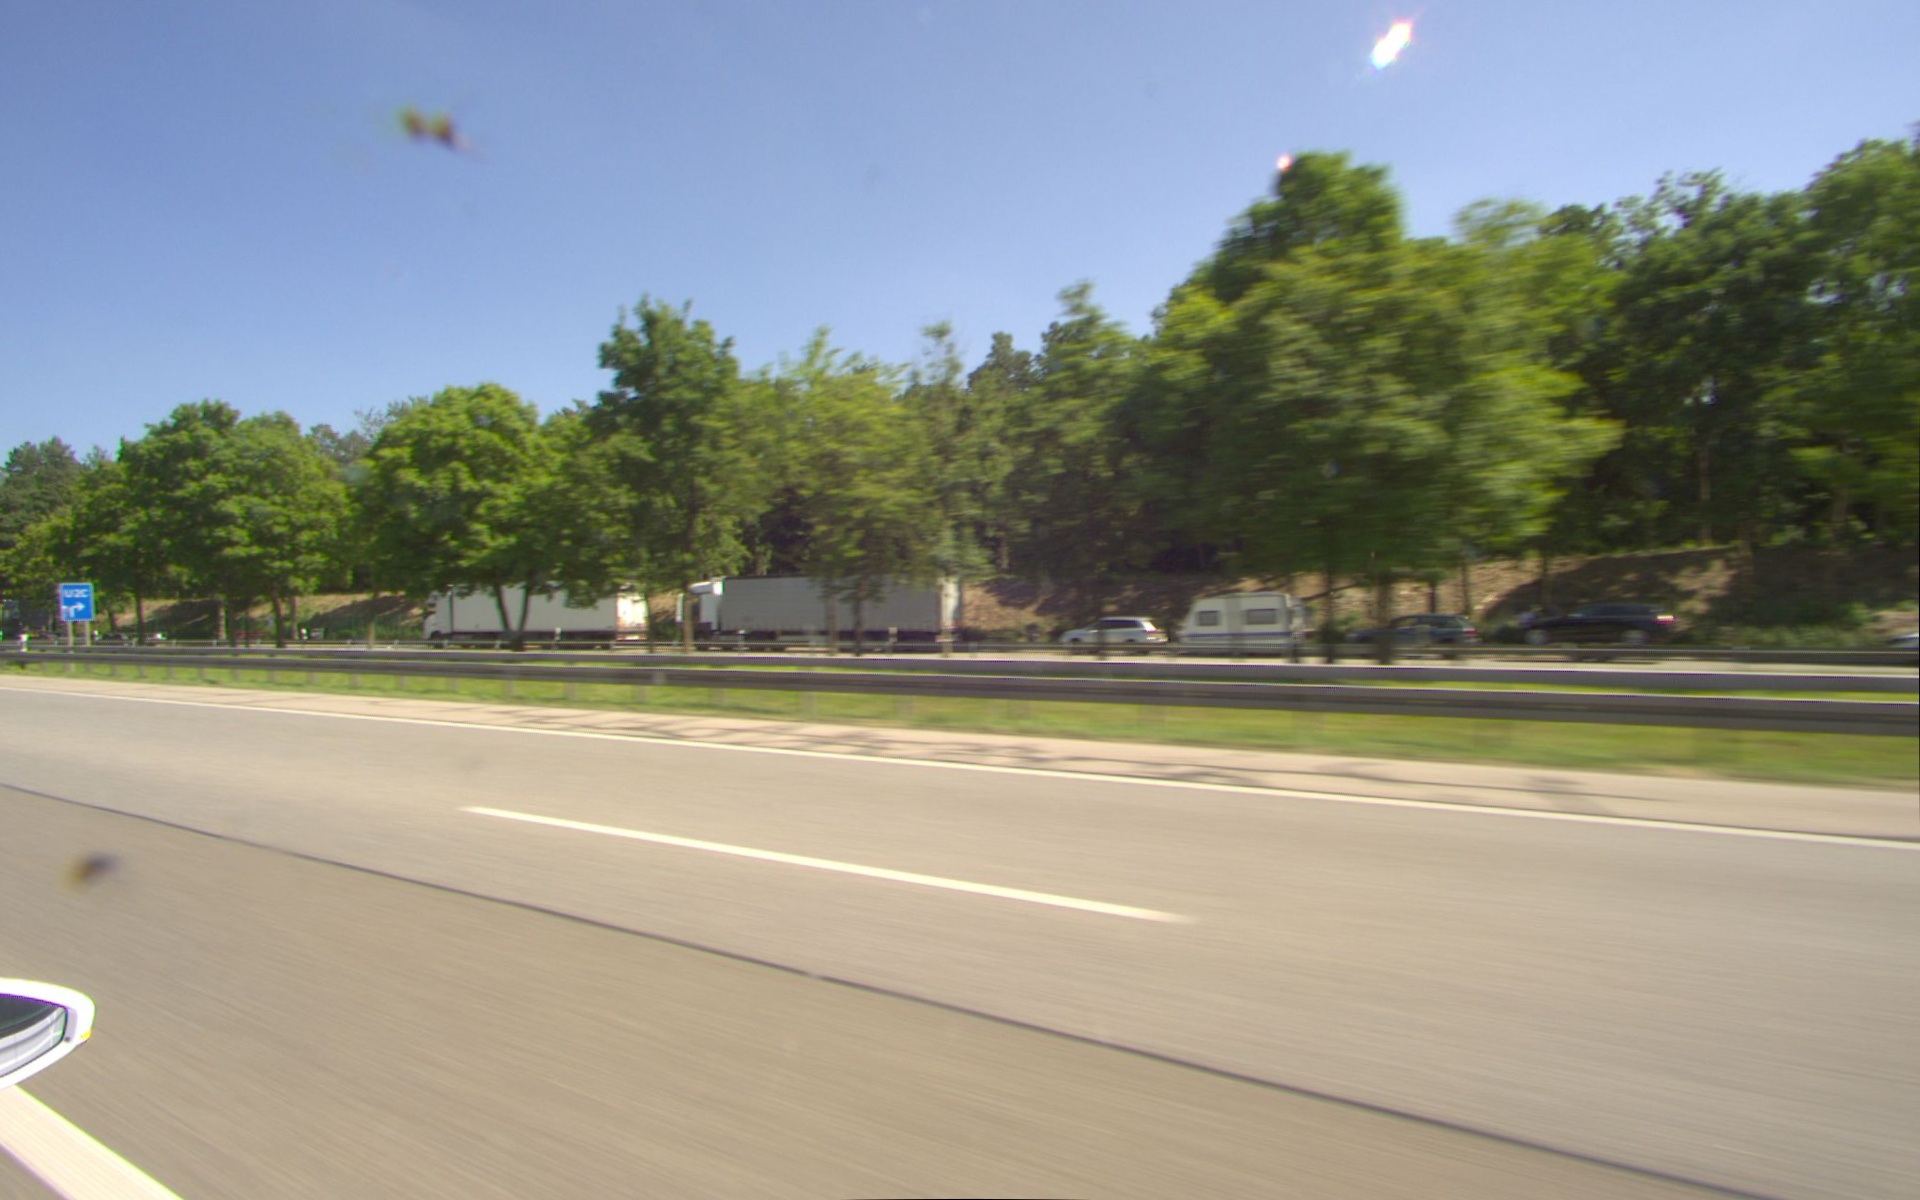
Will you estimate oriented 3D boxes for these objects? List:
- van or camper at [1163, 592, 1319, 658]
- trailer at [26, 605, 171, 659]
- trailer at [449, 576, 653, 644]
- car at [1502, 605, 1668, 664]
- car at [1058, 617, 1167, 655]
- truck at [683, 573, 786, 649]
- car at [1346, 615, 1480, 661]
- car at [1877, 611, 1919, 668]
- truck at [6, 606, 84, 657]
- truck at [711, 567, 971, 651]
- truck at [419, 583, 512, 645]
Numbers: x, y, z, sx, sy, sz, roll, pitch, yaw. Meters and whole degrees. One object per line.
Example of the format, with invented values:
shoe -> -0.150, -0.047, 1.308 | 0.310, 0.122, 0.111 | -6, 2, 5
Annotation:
van or camper -> 11.491, 1.036, 41.173 | 5.792, 2.563, 2.199 | -1, -1, 33
trailer -> -66.441, 2.479, 77.136 | 12.524, 3.965, 2.576 | -1, -1, 19
trailer -> -25.062, 0.728, 60.892 | 13.959, 3.846, 2.858 | -1, -1, 25
car -> 21.467, 1.188, 34.475 | 4.739, 1.901, 1.650 | -1, -1, 37
car -> 6.694, 1.581, 44.174 | 4.490, 1.618, 1.653 | -1, -1, 32
truck -> -12.371, 0.645, 55.055 | 4.758, 3.982, 2.969 | -1, -1, 28
car -> 17.067, 1.413, 37.805 | 4.433, 1.663, 1.652 | -1, -1, 33
car -> 30.194, 1.140, 29.389 | 4.588, 1.697, 1.652 | -1, -1, 34
truck -> -72.315, 2.508, 79.174 | 4.780, 3.965, 2.576 | -1, -1, 19
truck -> -6.443, 0.593, 51.900 | 14.236, 3.982, 2.994 | -1, -1, 28
truck -> -31.598, 0.926, 63.982 | 5.062, 3.846, 2.809 | -1, -1, 25
